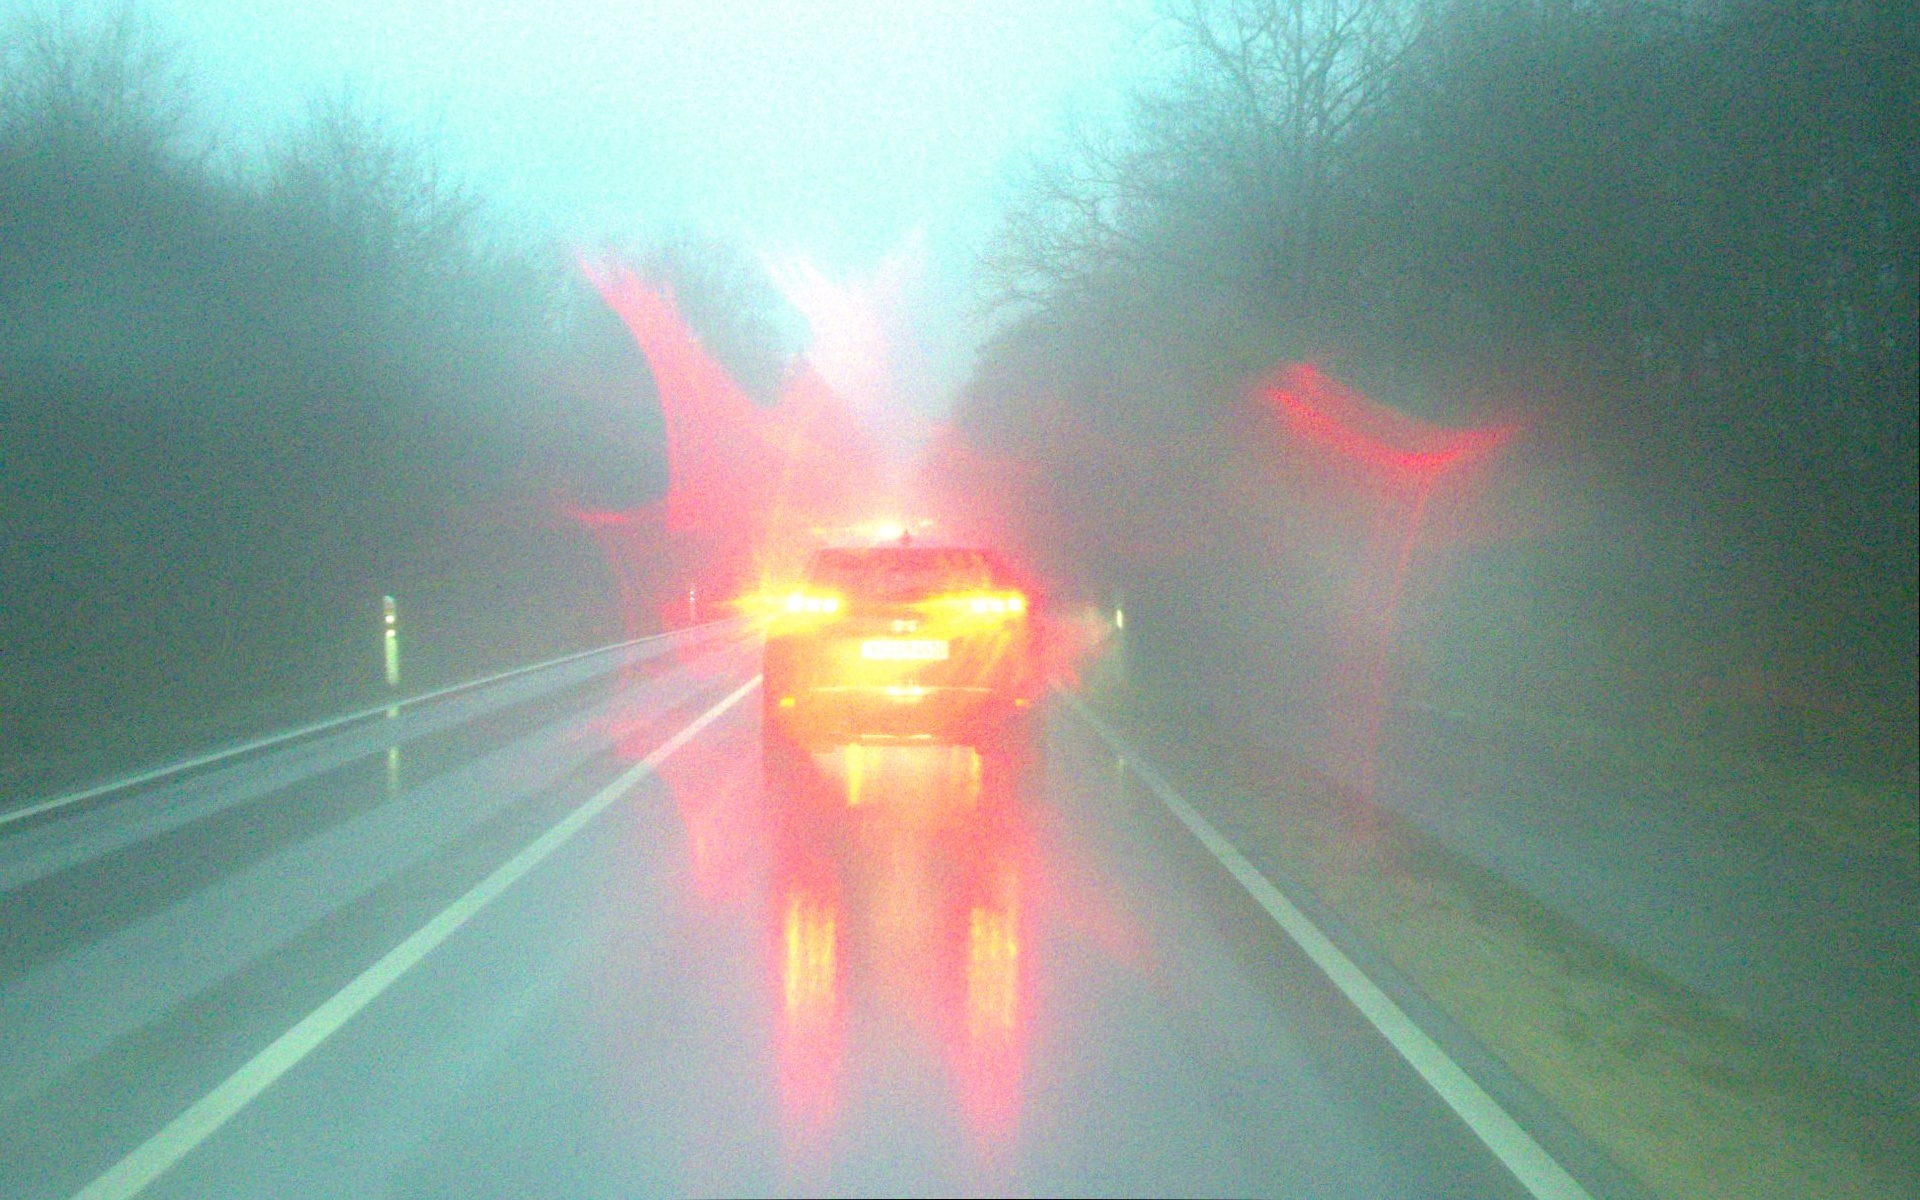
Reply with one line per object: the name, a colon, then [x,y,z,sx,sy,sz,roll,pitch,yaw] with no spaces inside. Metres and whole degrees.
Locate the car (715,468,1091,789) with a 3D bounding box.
car: [-0.380,0.122,22.789,2.198,1.871,4.827,1,1,-1]
